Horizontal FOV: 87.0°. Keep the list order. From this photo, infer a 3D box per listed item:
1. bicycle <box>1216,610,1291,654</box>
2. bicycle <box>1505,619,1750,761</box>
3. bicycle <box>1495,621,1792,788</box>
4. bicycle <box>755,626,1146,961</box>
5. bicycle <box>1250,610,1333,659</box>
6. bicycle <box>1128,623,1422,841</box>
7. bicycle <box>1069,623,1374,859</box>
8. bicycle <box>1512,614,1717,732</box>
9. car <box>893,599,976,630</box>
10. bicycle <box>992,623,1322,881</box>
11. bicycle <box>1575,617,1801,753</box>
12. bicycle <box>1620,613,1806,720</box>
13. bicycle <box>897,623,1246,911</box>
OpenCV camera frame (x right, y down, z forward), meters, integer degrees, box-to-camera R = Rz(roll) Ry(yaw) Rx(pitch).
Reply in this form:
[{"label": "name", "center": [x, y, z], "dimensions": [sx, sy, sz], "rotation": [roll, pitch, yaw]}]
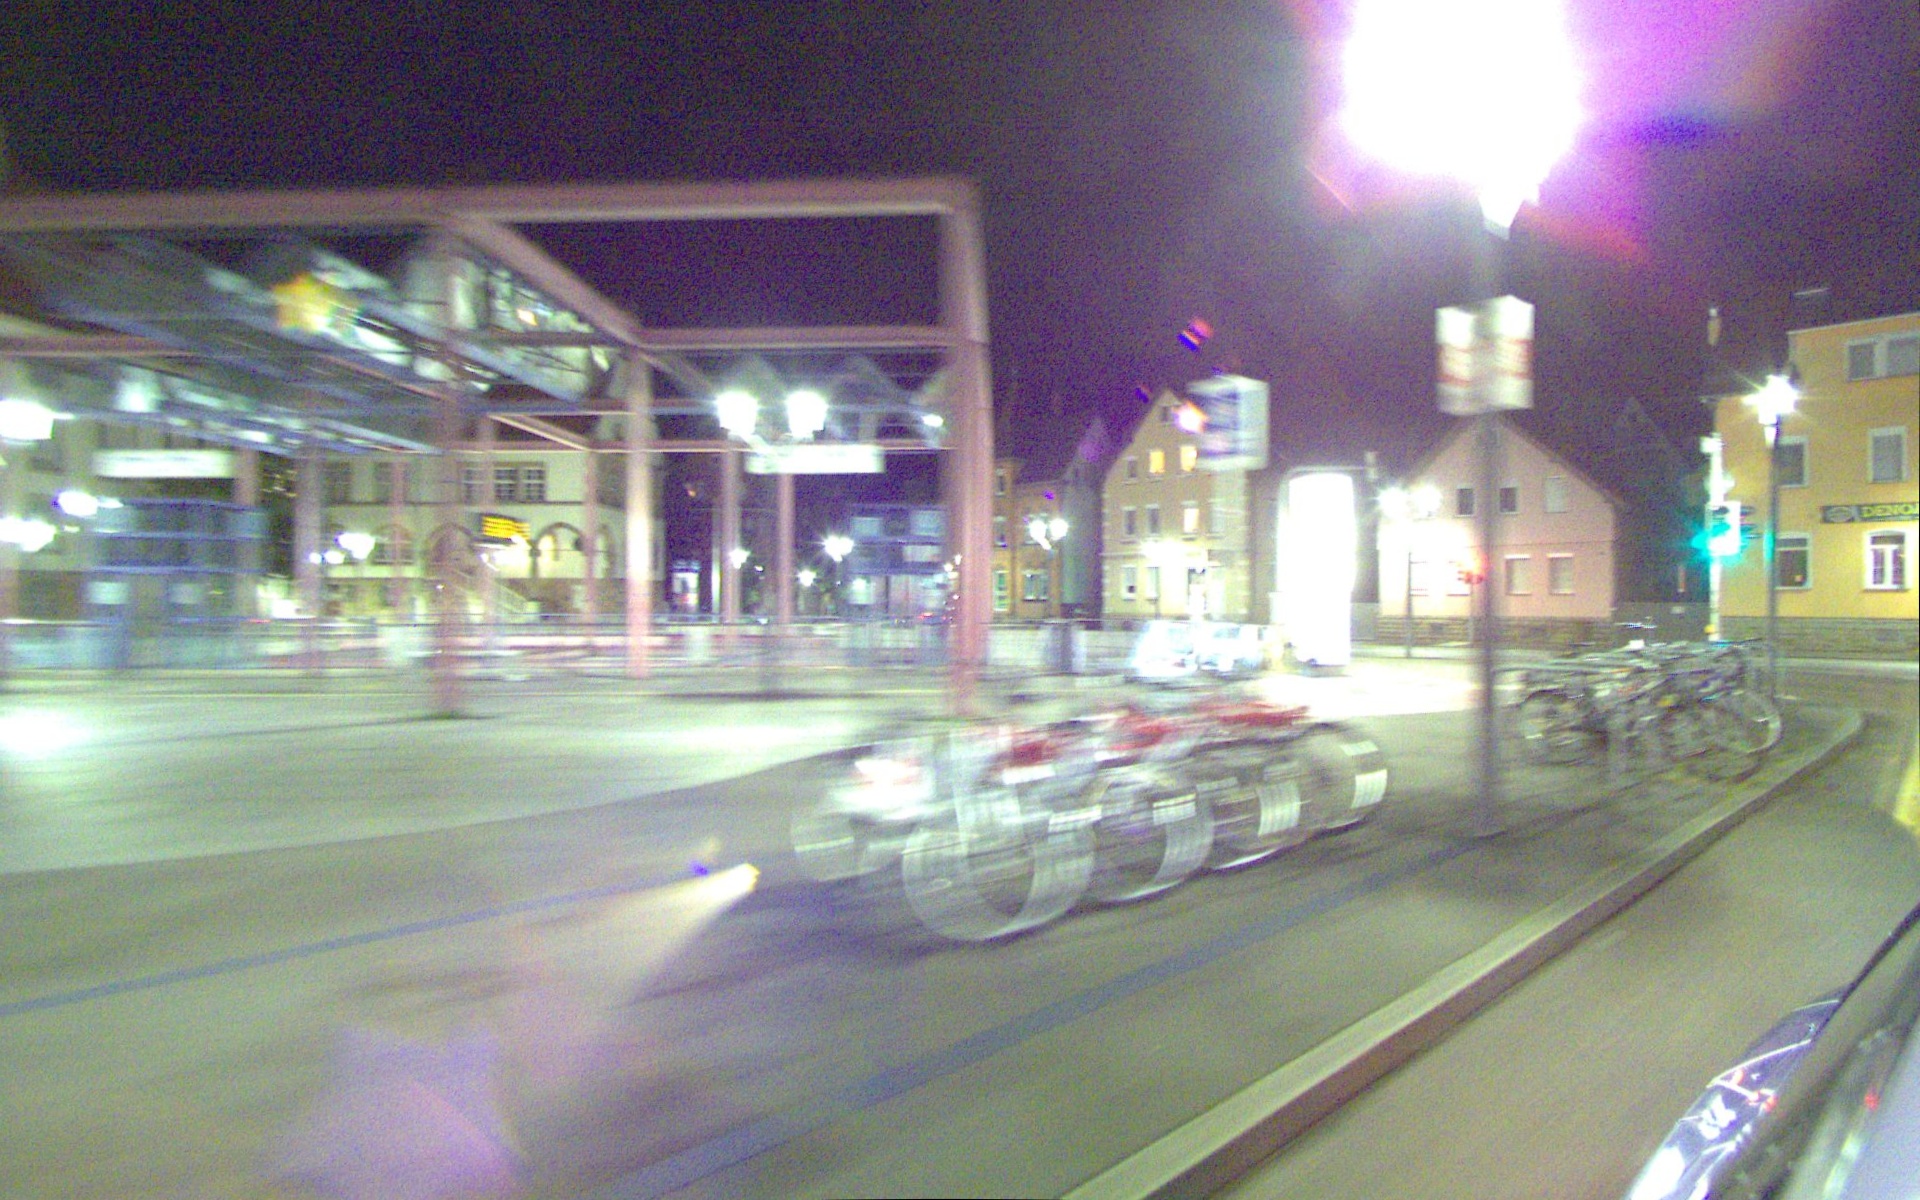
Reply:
[{"label": "bicycle", "center": [7.746, 0.828, 26.741], "dimensions": [1.767, 1.142, 0.651], "rotation": [0, -1, -4]}, {"label": "bicycle", "center": [6.073, 0.767, 9.281], "dimensions": [0.619, 1.149, 1.789], "rotation": [1, -1, -45]}, {"label": "bicycle", "center": [5.409, 0.760, 8.098], "dimensions": [0.713, 1.149, 1.865], "rotation": [1, -1, -45]}, {"label": "bicycle", "center": [-0.115, 0.719, 4.561], "dimensions": [0.747, 1.166, 1.783], "rotation": [1, -1, -44]}, {"label": "bicycle", "center": [7.907, 0.811, 24.193], "dimensions": [1.767, 1.142, 0.651], "rotation": [0, -1, -4]}, {"label": "bicycle", "center": [1.925, 0.743, 6.435], "dimensions": [0.572, 1.166, 1.776], "rotation": [1, -1, -38]}, {"label": "bicycle", "center": [1.476, 0.735, 6.017], "dimensions": [0.571, 1.166, 1.776], "rotation": [1, -1, -38]}, {"label": "bicycle", "center": [7.074, 0.746, 11.001], "dimensions": [0.675, 1.155, 1.771], "rotation": [1, -1, -43]}, {"label": "car", "center": [-1.369, 0.752, 53.898], "dimensions": [4.211, 1.605, 1.721], "rotation": [0, -1, 33]}, {"label": "bicycle", "center": [1.012, 0.726, 5.562], "dimensions": [0.573, 1.166, 1.773], "rotation": [1, -1, -44]}, {"label": "bicycle", "center": [6.876, 0.752, 9.615], "dimensions": [0.632, 1.149, 1.656], "rotation": [1, -1, -43]}, {"label": "bicycle", "center": [8.865, 0.737, 11.953], "dimensions": [0.814, 1.155, 1.656], "rotation": [0, -1, -43]}, {"label": "bicycle", "center": [0.487, 0.717, 5.084], "dimensions": [0.604, 1.166, 1.773], "rotation": [1, -1, -44]}]
